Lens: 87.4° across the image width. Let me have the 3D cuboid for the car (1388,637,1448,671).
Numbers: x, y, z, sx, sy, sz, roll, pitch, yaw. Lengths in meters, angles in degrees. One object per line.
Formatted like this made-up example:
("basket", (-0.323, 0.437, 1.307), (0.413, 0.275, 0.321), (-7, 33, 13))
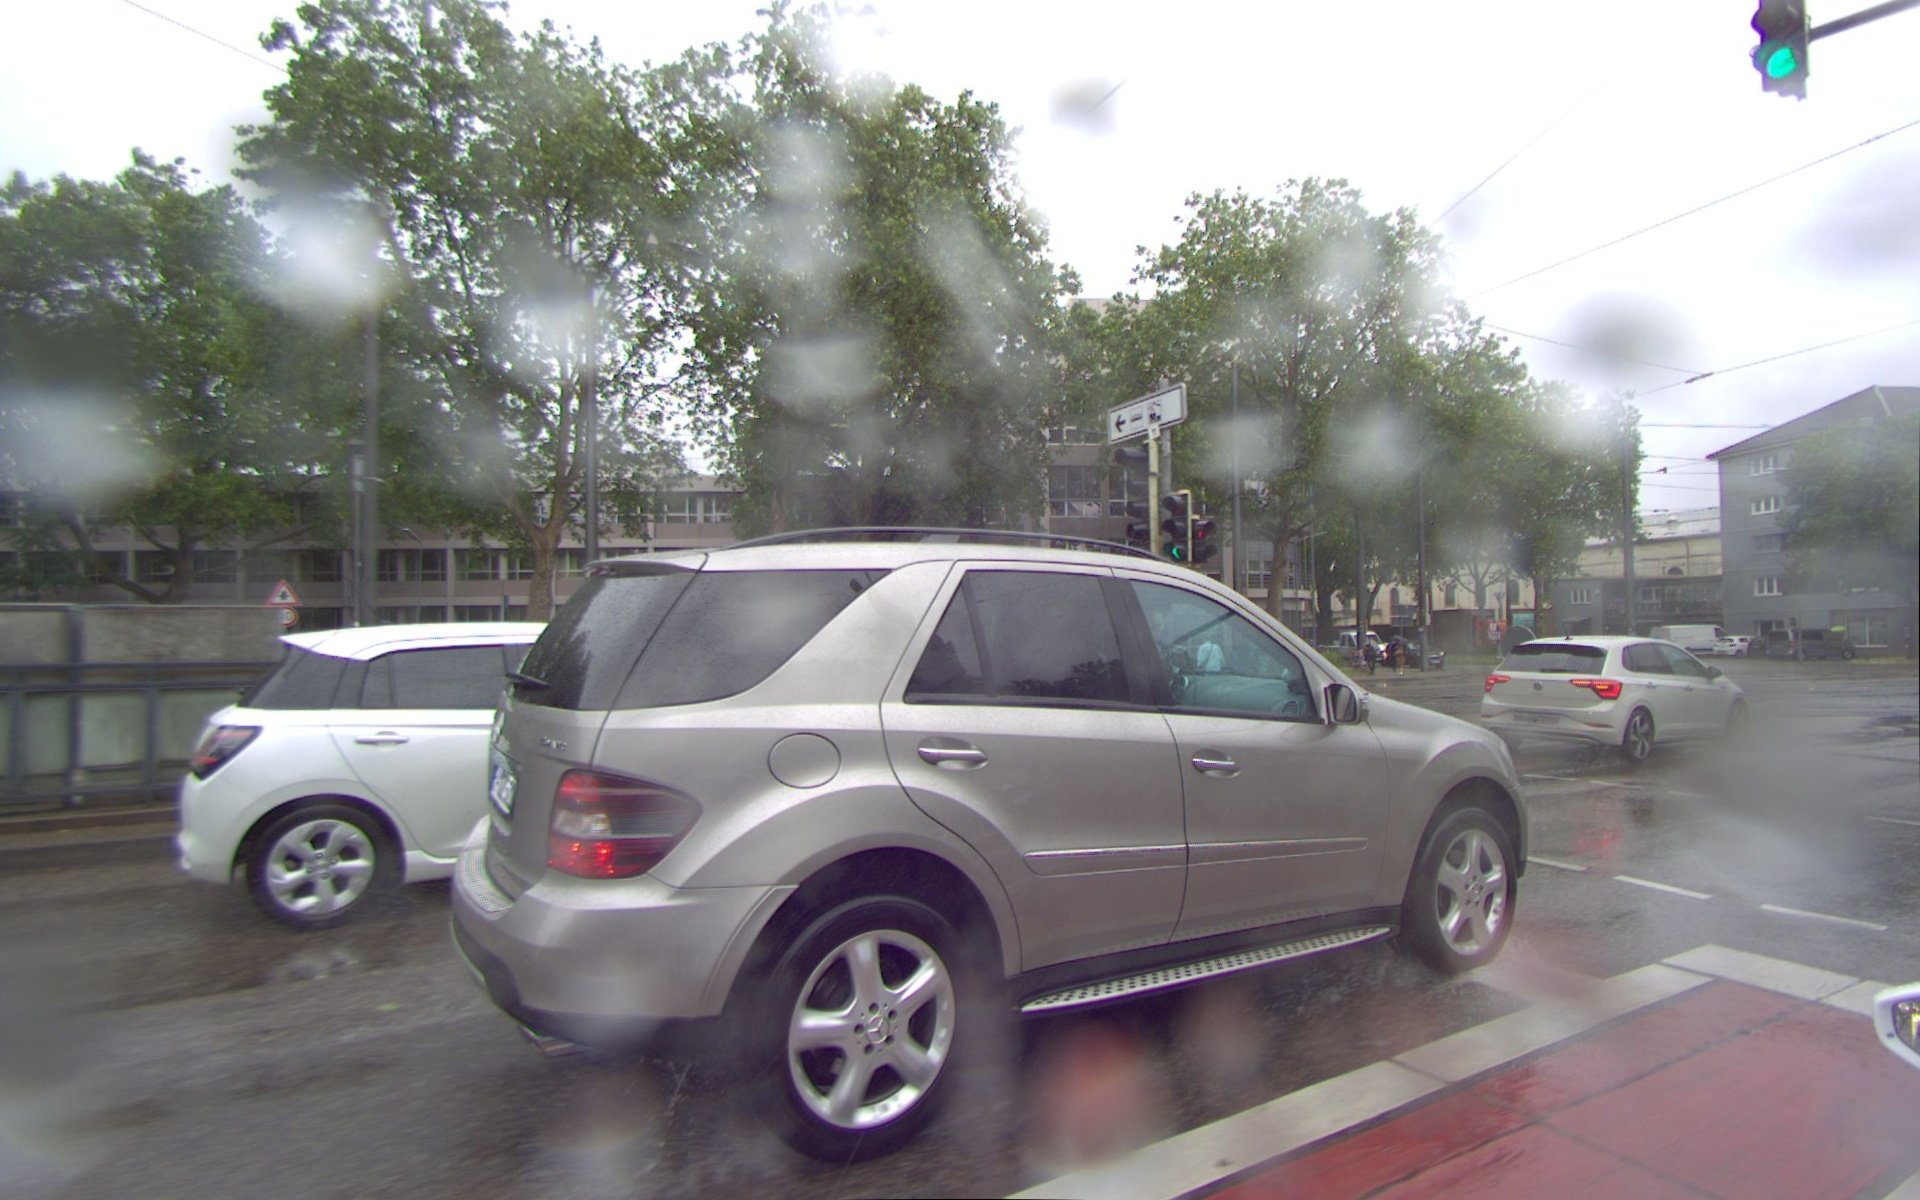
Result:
("car", (27.262, 3.194, 59.946), (1.768, 1.795, 4.001), (-2, -1, 2))

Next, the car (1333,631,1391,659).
("car", (26.668, 2.951, 66.773), (1.967, 1.795, 3.998), (0, -2, -5))

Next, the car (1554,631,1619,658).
("car", (50.439, 3.585, 80.909), (3.922, 2.040, 2.000), (2, -1, -1))

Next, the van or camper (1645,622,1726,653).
("van or camper", (51.433, 2.634, 71.233), (4.569, 2.102, 1.998), (1, -1, -8))

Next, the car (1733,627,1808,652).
("car", (53.647, 2.598, 66.486), (3.933, 1.639, 1.922), (0, -1, -15))

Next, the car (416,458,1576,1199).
("car", (0.393, 0.550, 4.214), (4.628, 1.668, 1.898), (0, -1, -32))

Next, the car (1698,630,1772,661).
("car", (52.865, 3.087, 68.555), (3.933, 2.040, 1.994), (0, -1, -15))

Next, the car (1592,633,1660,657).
("car", (50.715, 3.429, 76.491), (3.925, 1.635, 1.998), (2, -2, -6))

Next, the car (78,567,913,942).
("car", (-2.475, 0.692, 6.110), (4.024, 1.608, 1.794), (0, -1, -30))

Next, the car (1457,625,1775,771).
("car", (8.386, 1.117, 12.771), (4.143, 1.557, 1.797), (1, -2, -32))

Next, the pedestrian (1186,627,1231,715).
("pedestrian", (4.728, 1.338, 19.094), (0.721, 1.631, 0.718), (-1, -1, 20))

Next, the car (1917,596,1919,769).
("car", (11.831, 0.829, 10.280), (4.139, 1.732, 1.794), (0, -1, -29))

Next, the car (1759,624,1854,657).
("car", (53.307, 2.520, 63.300), (4.311, 2.040, 2.067), (0, 0, -1))

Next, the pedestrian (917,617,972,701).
("pedestrian", (-0.318, 1.245, 21.339), (0.931, 1.734, 0.830), (-1, -1, 20))

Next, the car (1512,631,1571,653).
("car", (50.677, 3.647, 87.587), (3.921, 1.787, 2.000), (-1, -2, -1))
